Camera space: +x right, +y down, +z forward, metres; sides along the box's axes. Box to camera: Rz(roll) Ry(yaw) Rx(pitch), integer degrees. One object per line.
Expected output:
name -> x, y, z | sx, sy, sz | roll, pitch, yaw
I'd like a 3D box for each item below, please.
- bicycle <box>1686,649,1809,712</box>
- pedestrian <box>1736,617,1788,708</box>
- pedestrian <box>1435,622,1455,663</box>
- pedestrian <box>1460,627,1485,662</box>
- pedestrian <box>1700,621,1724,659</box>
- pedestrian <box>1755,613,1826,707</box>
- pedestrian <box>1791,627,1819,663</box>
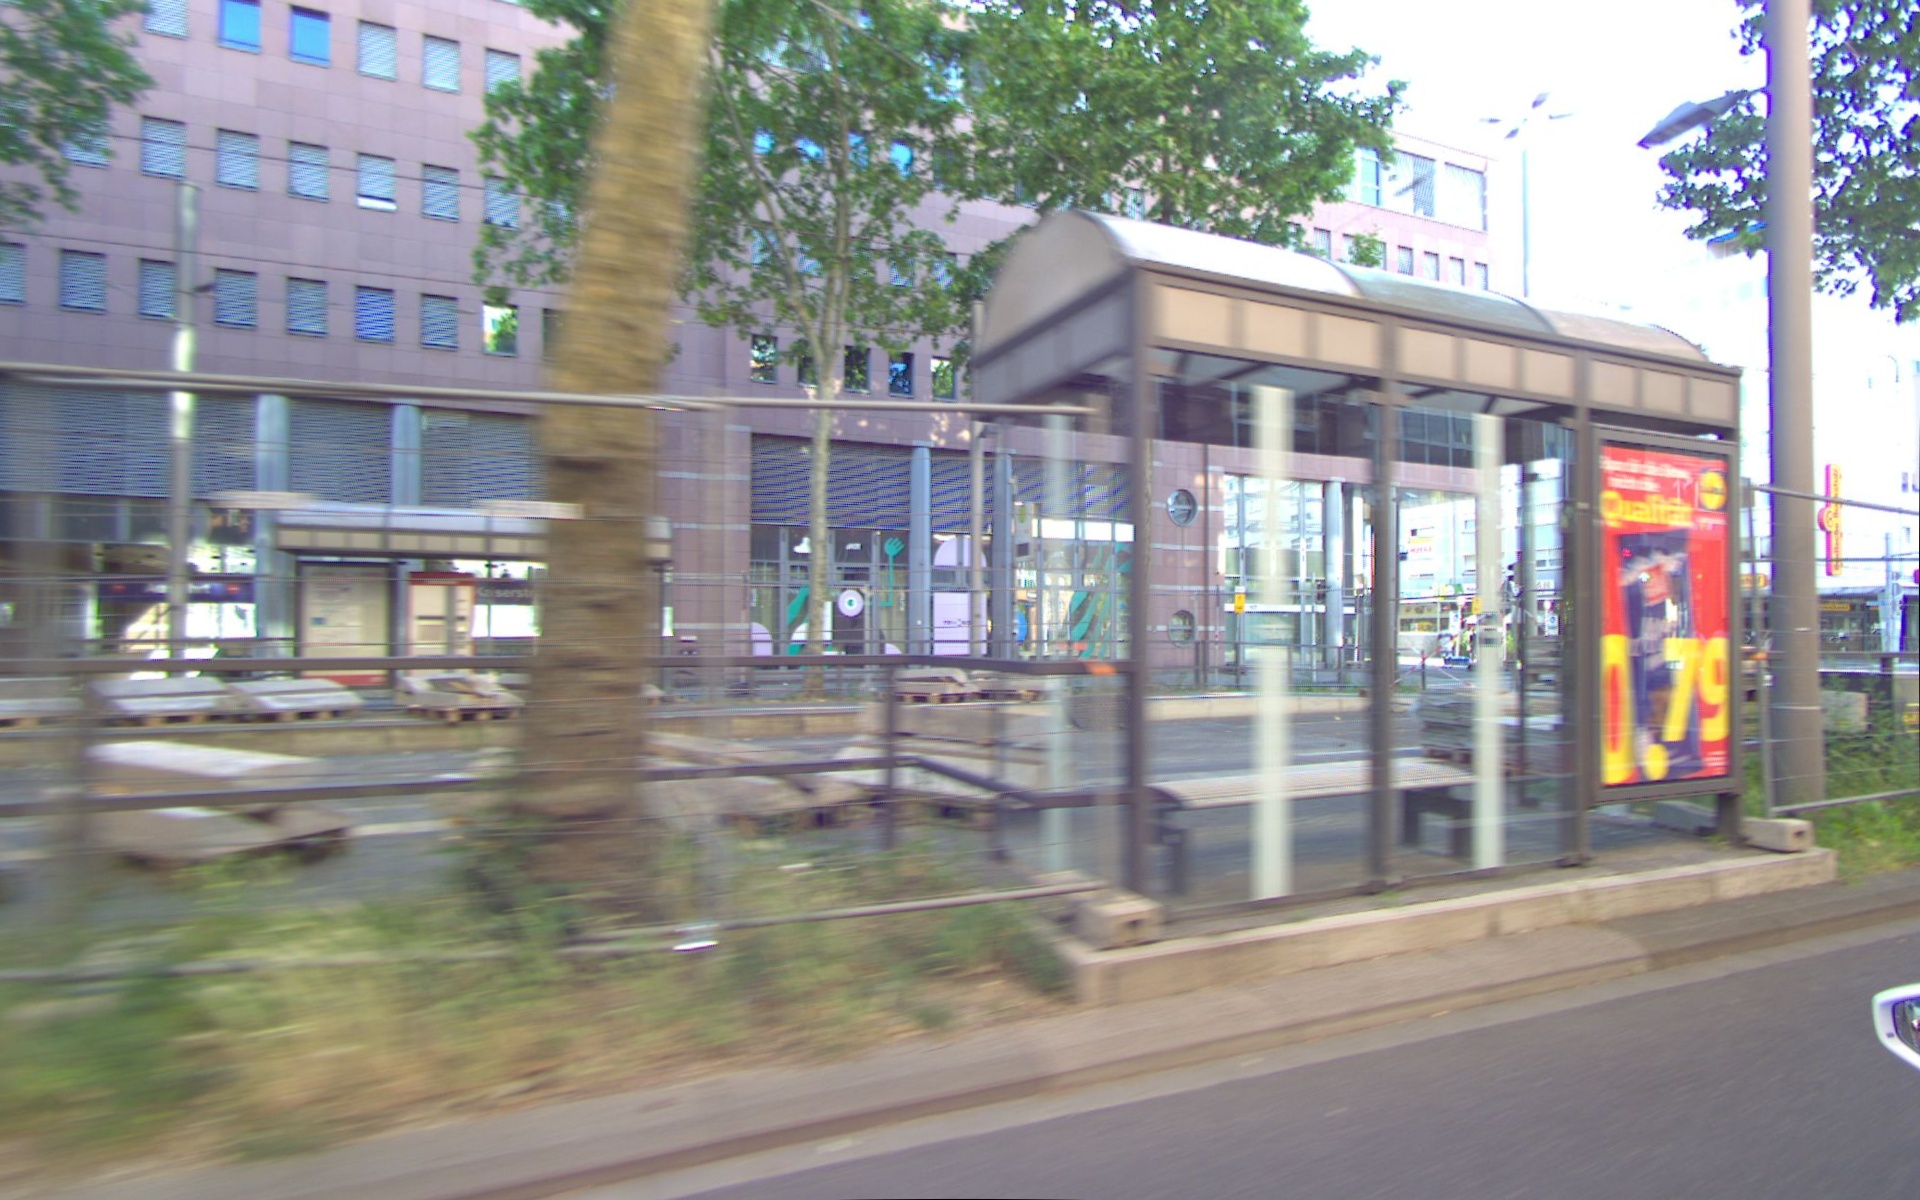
bicycle -> 14.787, 1.479, 18.911 | 0.474, 1.093, 1.826 | 1, -2, -22
pedestrian -> 15.251, 1.173, 19.104 | 0.523, 1.702, 0.565 | 1, -2, -22
pedestrian -> 19.377, 1.688, 40.130 | 0.710, 1.640, 0.641 | 0, -1, 28
pedestrian -> 25.063, 2.150, 49.100 | 0.866, 1.687, 0.908 | 0, -2, 12
pedestrian -> 36.627, 1.929, 48.896 | 0.773, 1.815, 0.627 | 1, -1, -22
pedestrian -> 16.009, 1.144, 19.361 | 0.837, 1.757, 0.775 | 1, -2, -27
pedestrian -> 41.395, 2.178, 49.215 | 0.765, 1.747, 0.803 | 1, -1, -23
